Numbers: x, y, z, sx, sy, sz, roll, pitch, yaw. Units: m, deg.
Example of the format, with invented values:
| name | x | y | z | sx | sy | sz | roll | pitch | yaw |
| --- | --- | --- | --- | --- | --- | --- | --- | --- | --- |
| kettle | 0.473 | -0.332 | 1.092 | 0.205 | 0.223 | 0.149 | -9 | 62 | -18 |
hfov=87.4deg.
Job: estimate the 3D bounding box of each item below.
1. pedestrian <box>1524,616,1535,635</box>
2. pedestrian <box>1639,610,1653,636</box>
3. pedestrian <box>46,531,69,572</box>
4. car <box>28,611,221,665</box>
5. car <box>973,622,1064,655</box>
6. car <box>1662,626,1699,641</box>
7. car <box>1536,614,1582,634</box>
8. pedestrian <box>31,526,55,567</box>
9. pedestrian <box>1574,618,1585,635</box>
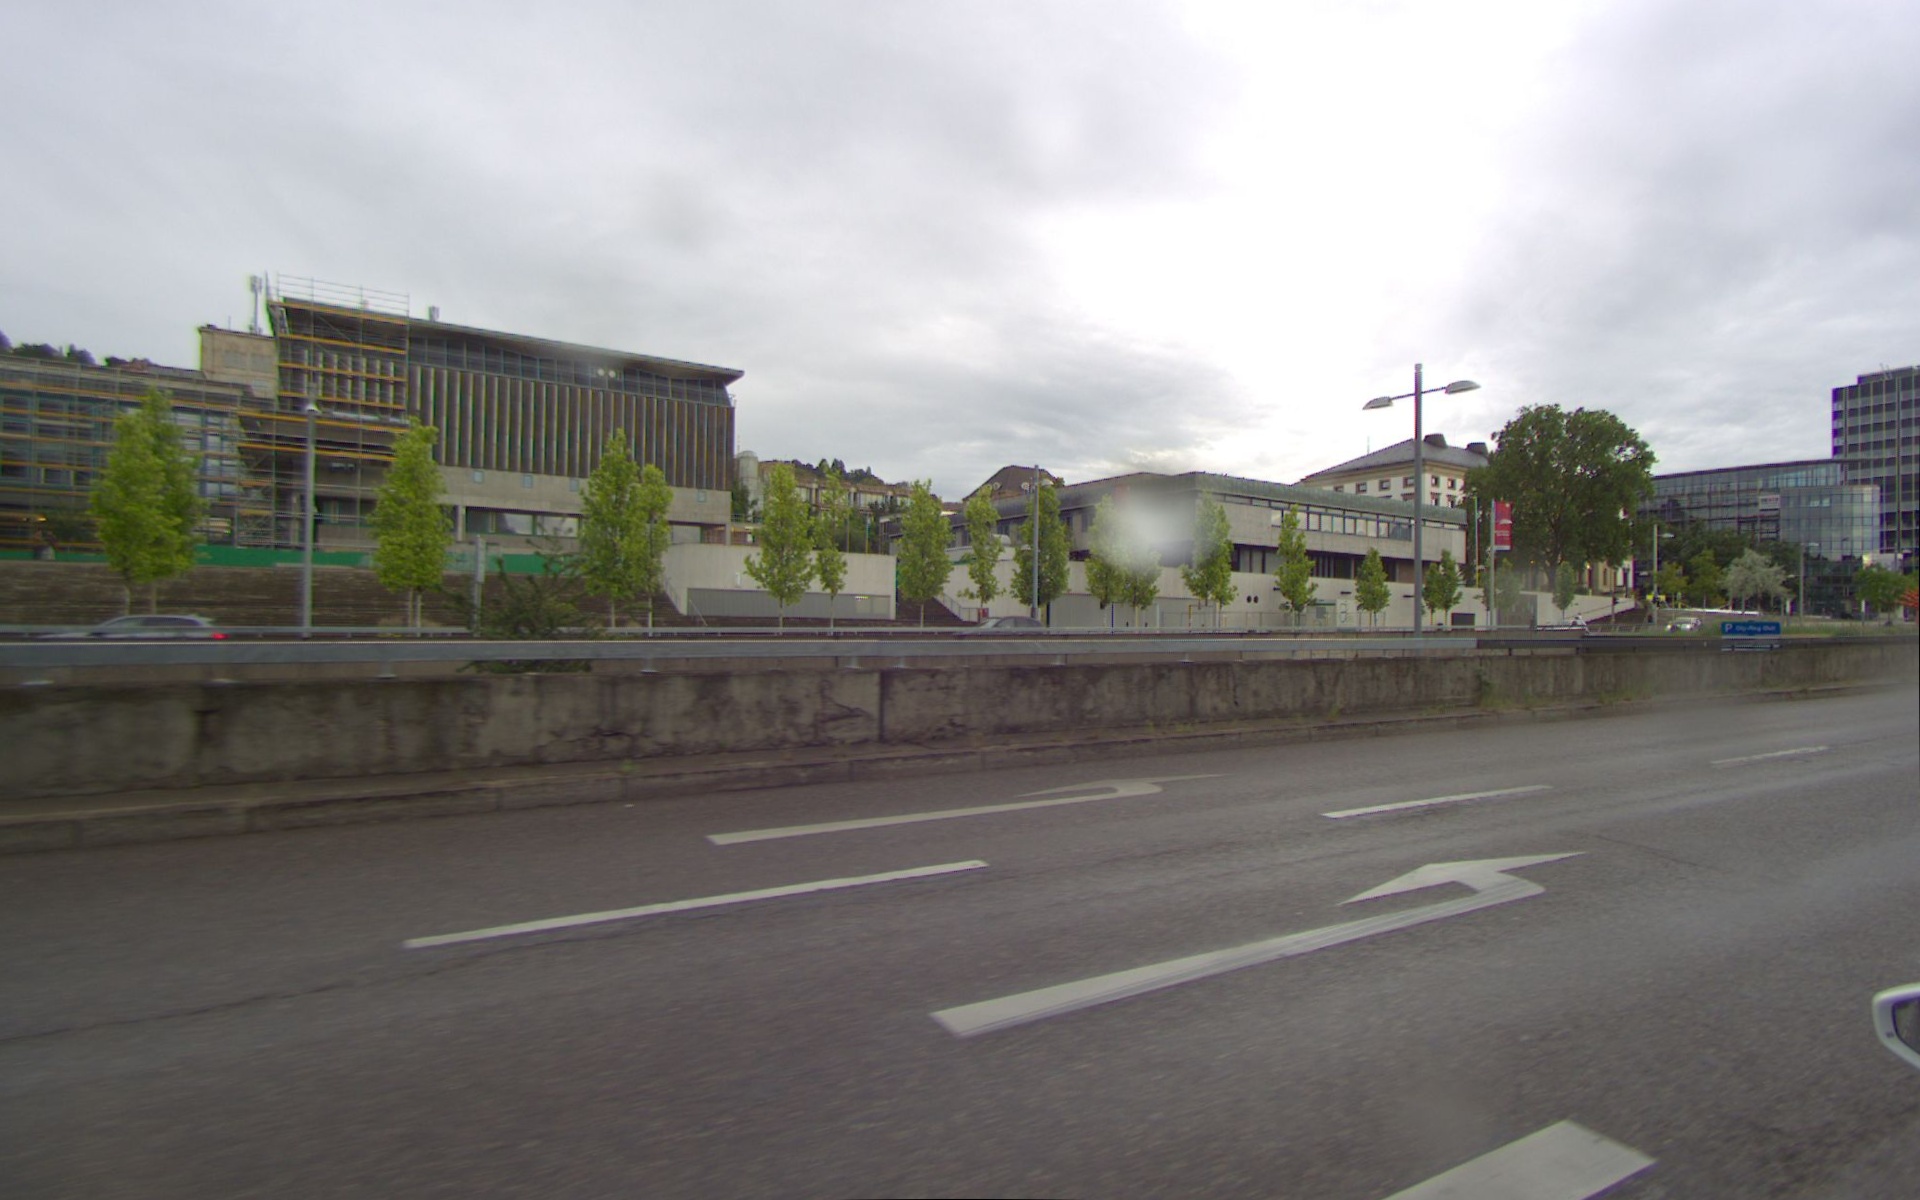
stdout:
| name | x | y | z | sx | sy | sz | roll | pitch | yaw |
| --- | --- | --- | --- | --- | --- | --- | --- | --- | --- |
| pedestrian | 44.017 | 1.972 | 77.591 | 0.570 | 1.401 | 0.465 | 2 | 0 | -30 |
| pedestrian | 56.806 | 1.901 | 83.188 | 0.718 | 2.120 | 0.763 | -5 | 3 | -32 |
| pedestrian | -46.433 | -2.502 | 51.697 | 0.596 | 2.040 | 0.638 | 2 | 0 | -15 |
| car | -21.038 | 0.972 | 25.465 | 3.501 | 1.243 | 1.558 | 2 | -1 | -30 |
| car | 2.430 | 1.576 | 41.366 | 3.504 | 1.243 | 1.556 | 2 | -1 | -33 |
| car | 57.584 | 2.674 | 80.276 | 2.988 | 1.129 | 1.432 | 2 | -1 | -32 |
| car | 41.958 | 1.708 | 70.343 | 3.128 | 1.271 | 1.402 | 2 | -1 | -29 |
| pedestrian | -47.146 | -2.720 | 51.637 | 0.596 | 2.040 | 0.638 | 2 | 0 | -14 |
| pedestrian | 51.842 | 2.230 | 84.093 | 0.626 | 1.441 | 0.489 | 2 | 0 | -31 |
